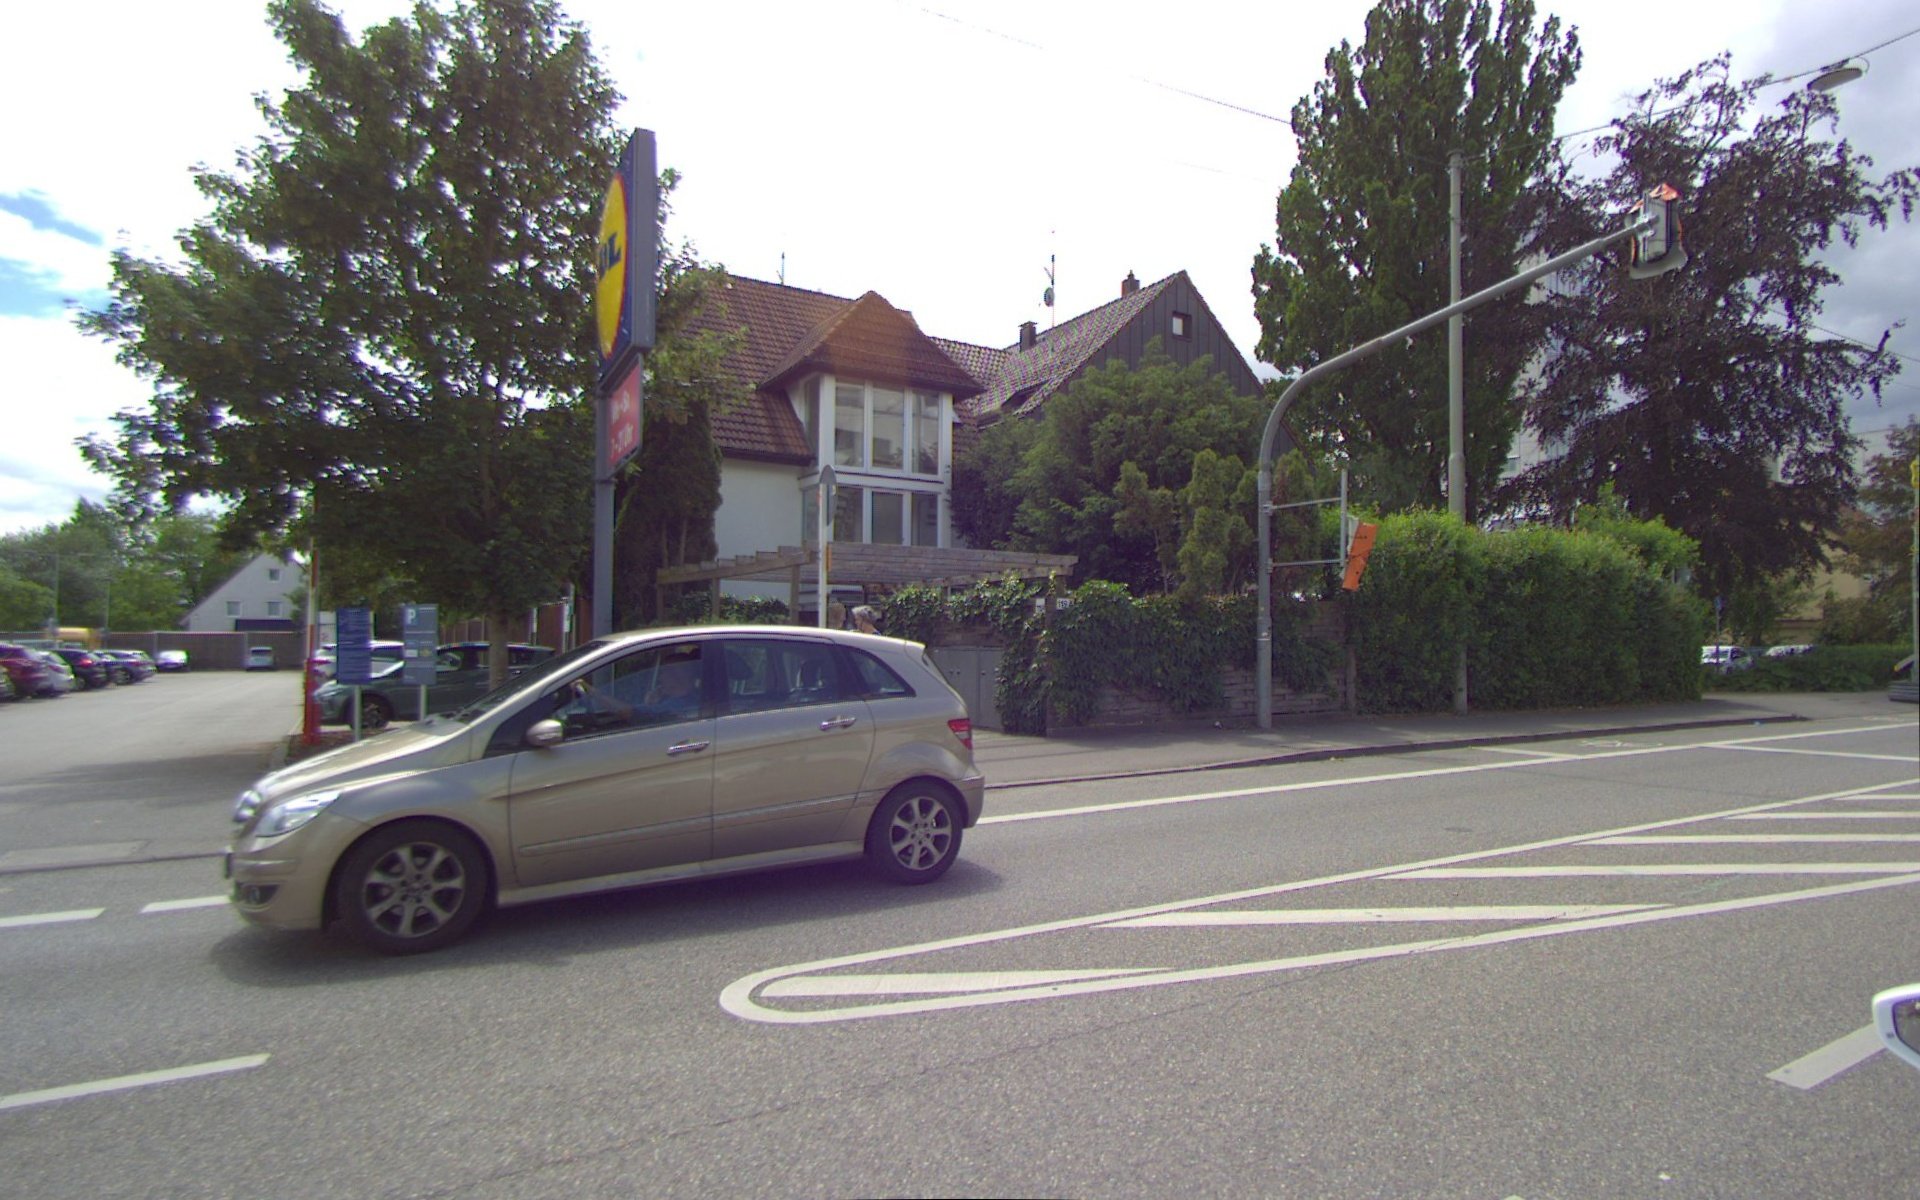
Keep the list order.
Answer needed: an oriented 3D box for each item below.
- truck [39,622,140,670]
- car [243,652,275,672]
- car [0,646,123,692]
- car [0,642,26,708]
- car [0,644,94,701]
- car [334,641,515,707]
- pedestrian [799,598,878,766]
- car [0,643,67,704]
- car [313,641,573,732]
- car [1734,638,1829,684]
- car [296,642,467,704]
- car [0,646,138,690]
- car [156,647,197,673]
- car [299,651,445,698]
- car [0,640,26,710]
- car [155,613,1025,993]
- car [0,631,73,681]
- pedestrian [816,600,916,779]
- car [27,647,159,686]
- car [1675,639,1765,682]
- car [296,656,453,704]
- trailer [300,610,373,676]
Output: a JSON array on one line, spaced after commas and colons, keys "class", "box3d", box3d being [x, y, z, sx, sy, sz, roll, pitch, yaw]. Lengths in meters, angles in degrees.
[{"class": "truck", "box3d": [-52.987, 2.820, 61.266, 4.265, 2.807, 1.984, 2, -3, -31]}, {"class": "car", "box3d": [-47.196, 4.186, 67.688, 1.569, 1.284, 3.966, 1, -3, -32]}, {"class": "car", "box3d": [-33.574, 2.495, 36.924, 3.953, 1.605, 1.984, 1, -3, -30]}, {"class": "car", "box3d": [-27.270, 1.961, 26.123, 3.953, 1.718, 1.984, 1, -3, -30]}, {"class": "car", "box3d": [-29.538, 2.213, 30.954, 3.953, 1.718, 1.984, 1, -3, -30]}, {"class": "car", "box3d": [-13.828, 1.858, 26.000, 3.959, 1.572, 1.982, 2, -3, -34]}, {"class": "pedestrian", "box3d": [-1.423, 0.936, 11.726, 0.698, 1.879, 0.678, 2, -2, -30]}, {"class": "car", "box3d": [-28.375, 2.093, 28.654, 3.953, 1.718, 1.984, 1, -3, -30]}, {"class": "car", "box3d": [-9.218, 1.480, 18.081, 3.953, 1.472, 1.984, 2, -3, -30]}, {"class": "car", "box3d": [29.438, 2.154, 35.972, 3.398, 1.535, 1.652, 1, -2, -32]}, {"class": "car", "box3d": [-15.923, 1.955, 27.705, 3.959, 1.572, 1.982, 2, -3, -34]}, {"class": "car", "box3d": [-34.875, 2.616, 39.246, 3.953, 1.605, 1.984, 1, -3, -30]}, {"class": "car", "box3d": [-51.109, 3.886, 65.568, 1.981, 1.617, 3.960, 2, -3, -36]}, {"class": "car", "box3d": [-19.073, 2.363, 32.623, 3.959, 1.416, 1.982, 2, -3, -34]}, {"class": "car", "box3d": [-25.576, 1.828, 24.308, 3.953, 1.718, 1.984, 1, -3, -30]}, {"class": "car", "box3d": [-1.893, 0.918, 6.057, 4.350, 1.576, 1.741, 1, -3, -30]}, {"class": "car", "box3d": [-47.060, 2.756, 49.467, 4.646, 2.426, 1.984, 2, -3, -31]}, {"class": "pedestrian", "box3d": [-1.035, 0.960, 11.056, 0.882, 1.879, 0.678, 2, -2, -30]}, {"class": "car", "box3d": [-37.169, 2.827, 43.209, 3.953, 1.605, 1.984, 1, -3, -30]}, {"class": "car", "box3d": [28.900, 2.271, 38.181, 3.398, 1.535, 1.652, 1, -2, -32]}, {"class": "car", "box3d": [-17.523, 2.352, 30.110, 3.959, 1.305, 1.982, 2, -3, -34]}, {"class": "trailer", "box3d": [-35.316, 2.478, 57.131, 3.318, 3.532, 6.128, 1, -3, -31]}]
